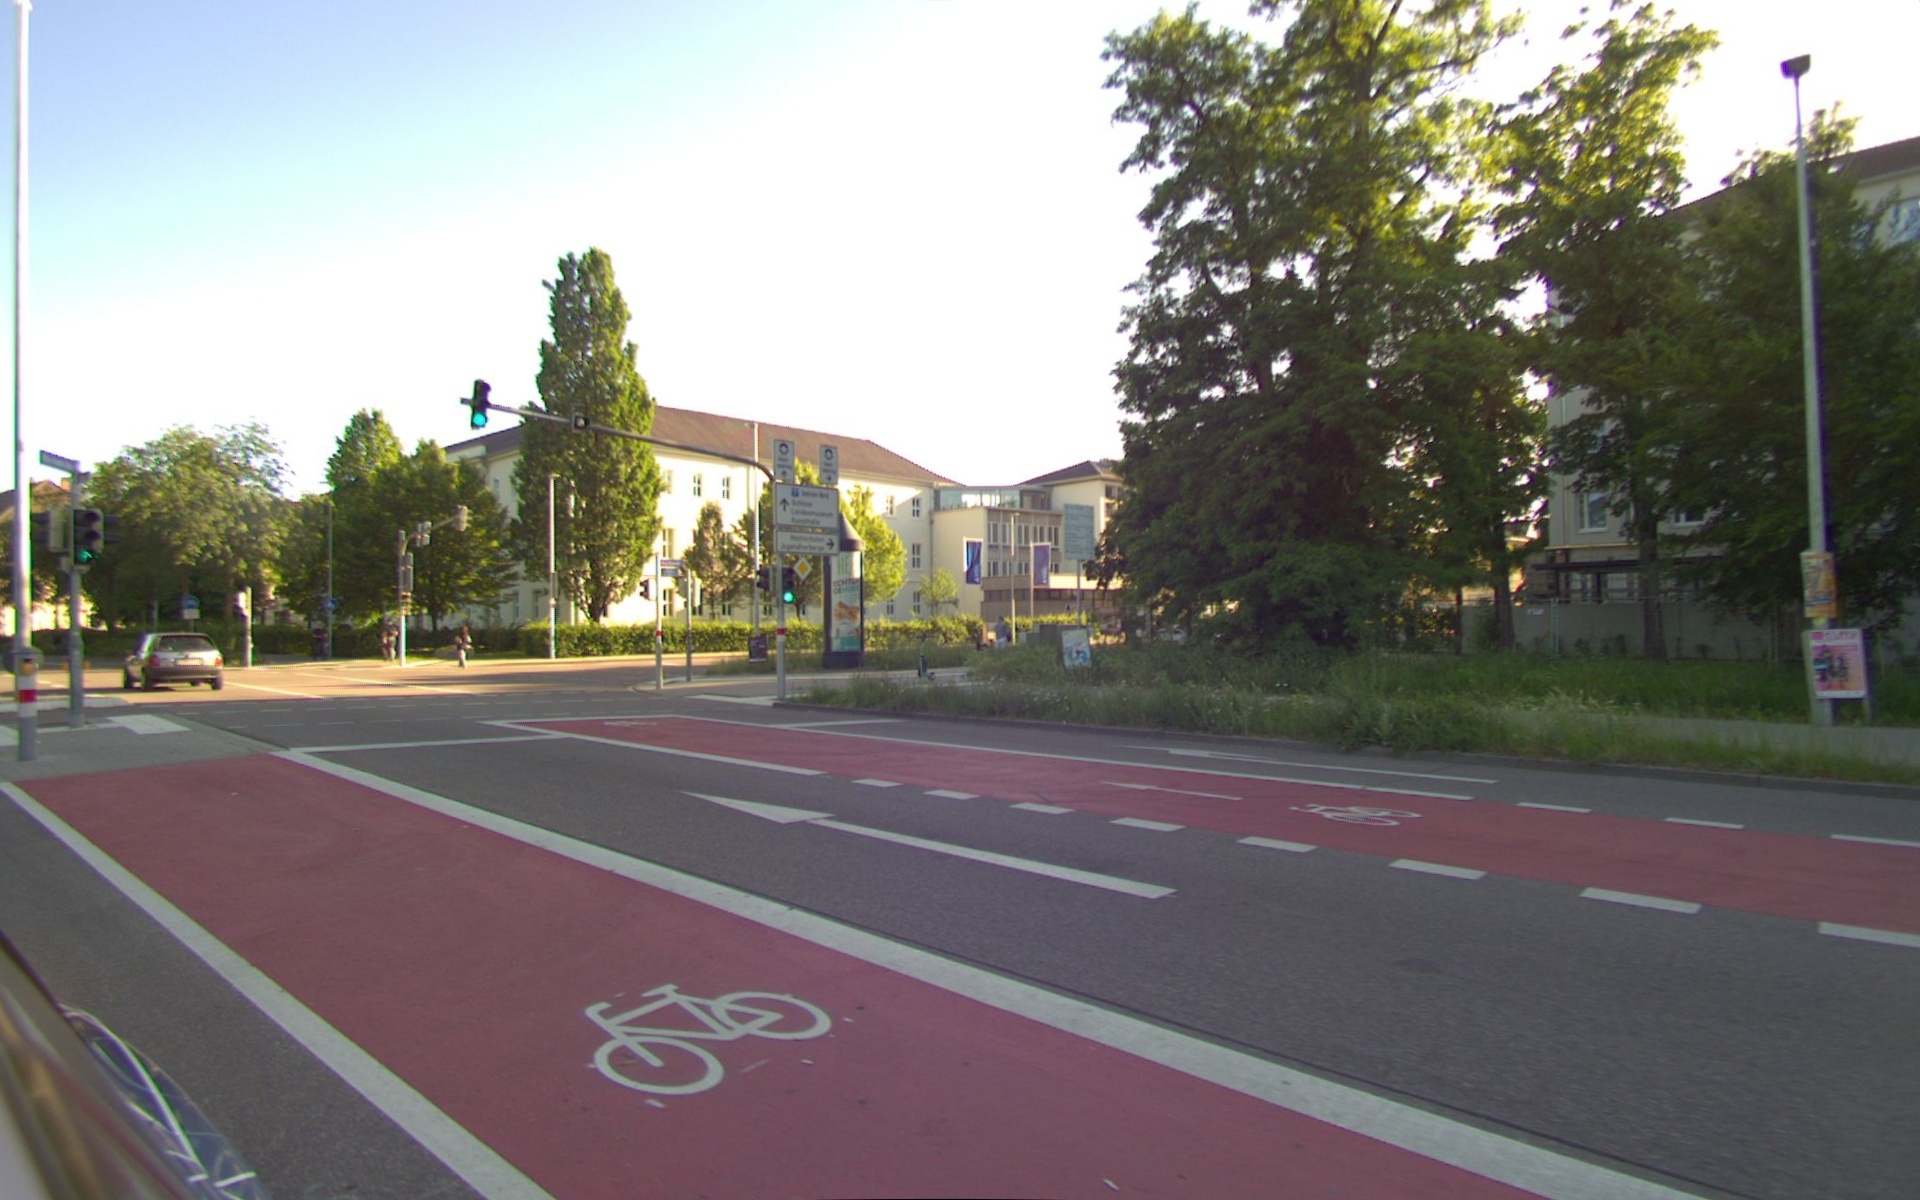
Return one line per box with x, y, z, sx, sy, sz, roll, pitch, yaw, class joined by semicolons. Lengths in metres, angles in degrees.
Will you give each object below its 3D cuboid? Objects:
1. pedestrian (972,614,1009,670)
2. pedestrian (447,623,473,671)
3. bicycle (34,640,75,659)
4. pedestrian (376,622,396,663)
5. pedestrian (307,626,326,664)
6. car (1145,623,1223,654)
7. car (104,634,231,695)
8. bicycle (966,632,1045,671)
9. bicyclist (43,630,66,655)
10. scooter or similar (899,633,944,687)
0.962;1.308;31.734;0.643;1.709;0.966;-2;-2;45;pedestrian
-19.367;1.813;39.204;0.734;1.830;0.727;1;-2;-41;pedestrian
-54.141;2.956;60.520;2.166;1.125;0.696;-1;-2;12;bicycle
-25.989;1.936;45.814;0.681;1.830;0.681;1;-2;-41;pedestrian
-29.921;2.086;47.060;0.681;1.694;0.681;1;-2;-41;pedestrian
12.201;2.074;54.939;4.193;1.551;2.071;0;-2;-42;car
-20.280;1.599;25.837;4.552;1.432;1.693;-2;-3;41;car
1.436;1.579;31.556;0.981;1.144;2.541;-2;-2;45;bicycle
-54.179;2.516;60.542;0.750;1.477;0.696;-1;-2;11;bicyclist
-0.982;1.503;25.579;0.683;1.304;1.501;0;-2;-20;scooter or similar
